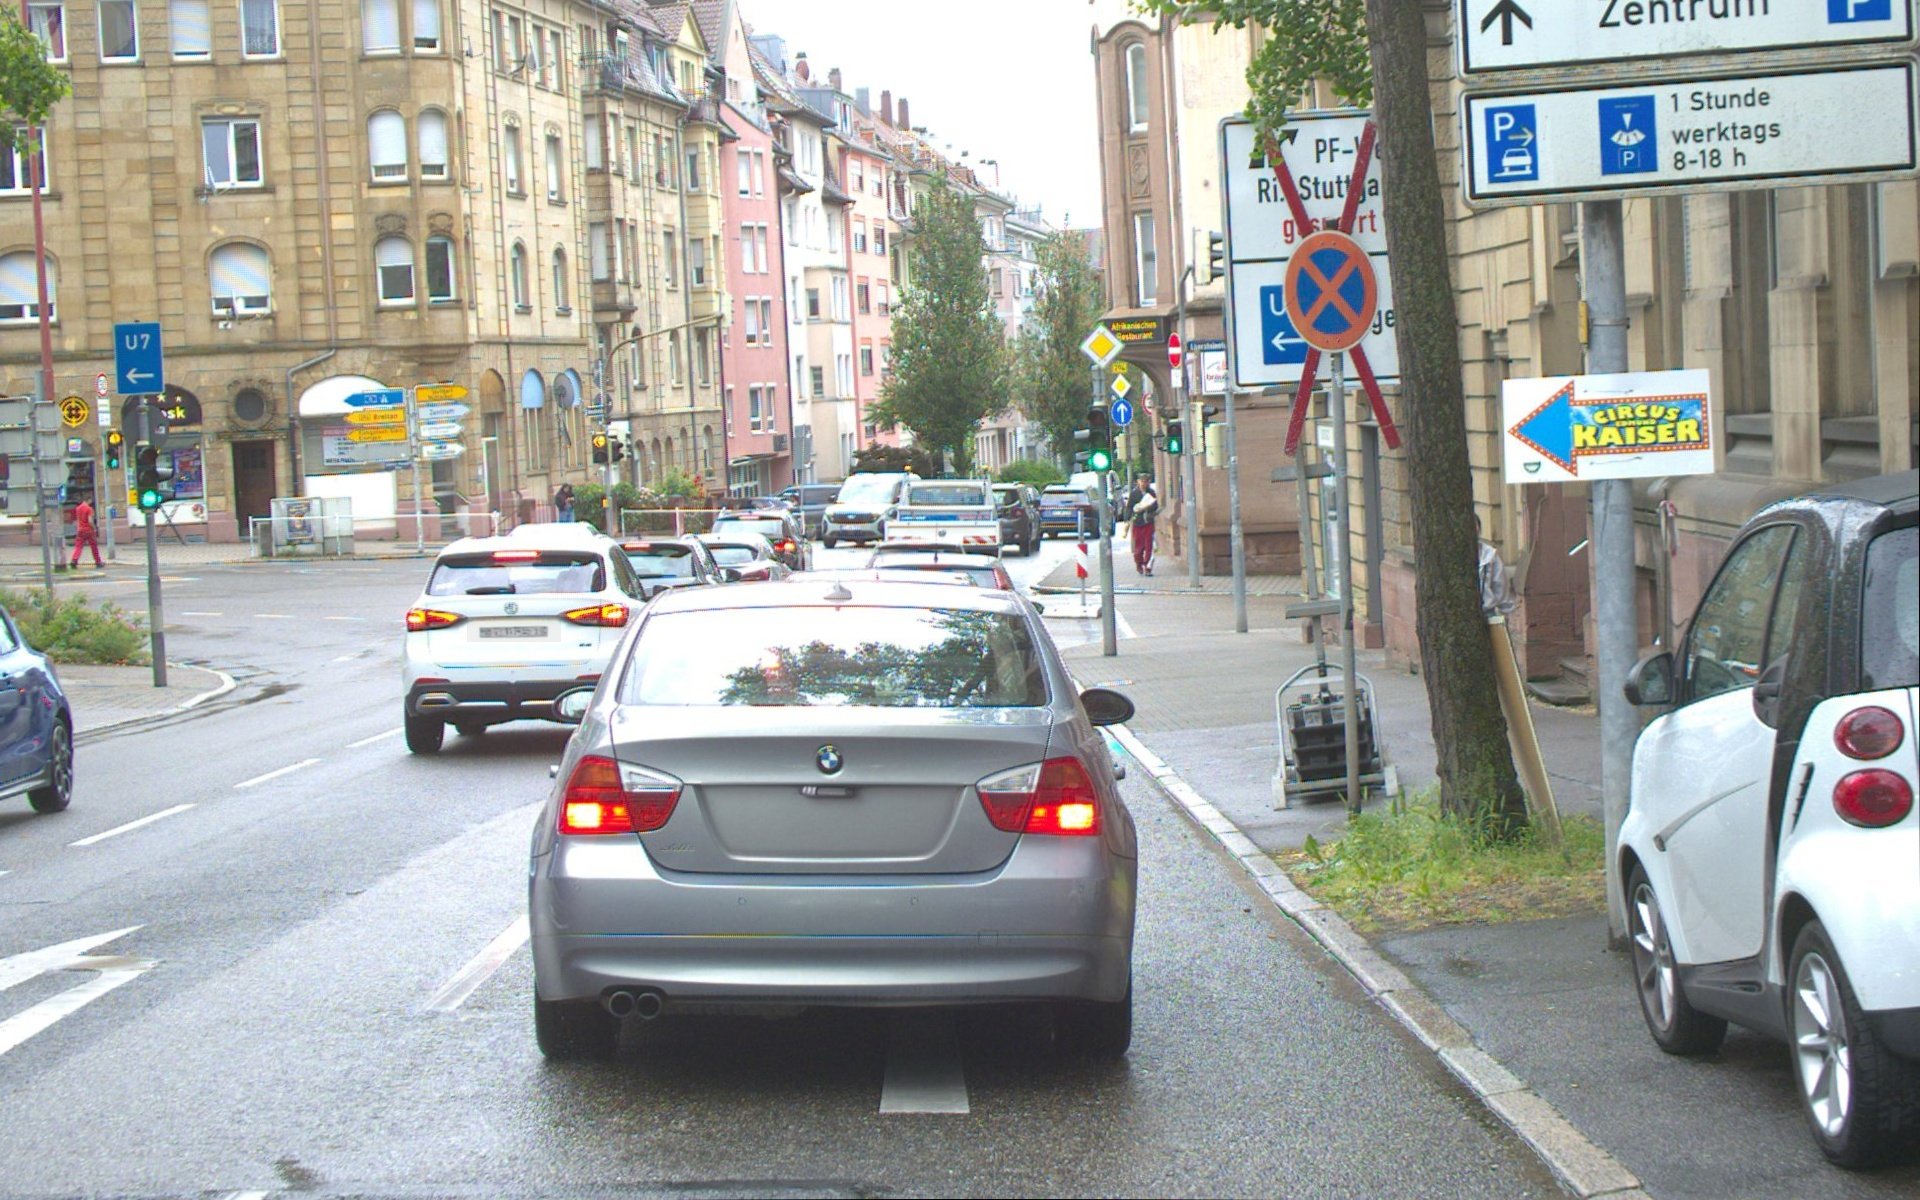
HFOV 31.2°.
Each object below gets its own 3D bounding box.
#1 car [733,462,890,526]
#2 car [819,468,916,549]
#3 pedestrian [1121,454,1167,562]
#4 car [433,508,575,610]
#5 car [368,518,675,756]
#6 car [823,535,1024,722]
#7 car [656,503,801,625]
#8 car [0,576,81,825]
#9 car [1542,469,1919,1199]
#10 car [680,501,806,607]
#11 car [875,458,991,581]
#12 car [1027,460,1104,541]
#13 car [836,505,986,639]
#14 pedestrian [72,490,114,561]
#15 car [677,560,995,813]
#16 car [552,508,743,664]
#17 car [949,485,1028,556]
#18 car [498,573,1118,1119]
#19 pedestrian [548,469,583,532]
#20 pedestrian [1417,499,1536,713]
[{"bbox_3d":[-4.981,-3.569,116.049,5.176,2.007,2.699,1,0,0],"label":"car"},{"bbox_3d":[-2.287,-2.297,86.321,1.762,1.919,4.322,-1,1,7],"label":"car"},{"bbox_3d":[3.298,-1.641,61.656,0.742,1.903,0.659,-2,1,-1],"label":"pedestrian"},{"bbox_3d":[-7.615,-0.703,57.813,1.737,1.521,4.472,-4,1,-1],"label":"car"},{"bbox_3d":[-3.362,0.221,27.054,1.868,1.620,4.001,-3,2,0],"label":"car"},{"bbox_3d":[-0.259,0.192,29.699,1.595,1.459,4.000,1,1,1],"label":"car"},{"bbox_3d":[-3.336,-0.549,50.078,1.759,1.702,4.000,0,1,1],"label":"car"},{"bbox_3d":[-6.552,0.664,20.375,1.715,1.445,3.743,-4,1,-2],"label":"car"},{"bbox_3d":[2.477,0.453,8.822,1.299,1.538,2.976,-6,1,0],"label":"car"},{"bbox_3d":[-3.590,-0.784,57.380,1.759,1.702,4.000,0,1,1],"label":"car"},{"bbox_3d":[-0.469,-1.410,61.052,1.993,2.099,4.000,0,1,0],"label":"car"},{"bbox_3d":[2.789,-2.596,90.613,1.725,2.007,3.999,1,0,6],"label":"car"},{"bbox_3d":[-0.616,-0.388,42.683,1.759,1.562,4.000,-1,1,-1],"label":"car"},{"bbox_3d":[-19.521,-1.683,77.396,0.537,1.572,0.719,-1,1,24],"label":"pedestrian"},{"bbox_3d":[-0.680,0.465,21.418,1.759,1.378,4.000,0,1,1],"label":"car"},{"bbox_3d":[-3.555,-0.198,39.749,1.759,1.702,4.000,0,1,1],"label":"car"},{"bbox_3d":[0.686,-1.837,80.001,1.725,1.547,4.000,1,0,2],"label":"car"},{"bbox_3d":[-0.368,0.635,10.854,1.623,1.378,3.615,0,1,1],"label":"car"},{"bbox_3d":[-9.988,-2.525,87.006,0.732,1.572,0.528,-1,1,9],"label":"pedestrian"},{"bbox_3d":[3.801,0.039,25.339,0.631,1.503,0.693,-6,1,-1],"label":"pedestrian"}]
